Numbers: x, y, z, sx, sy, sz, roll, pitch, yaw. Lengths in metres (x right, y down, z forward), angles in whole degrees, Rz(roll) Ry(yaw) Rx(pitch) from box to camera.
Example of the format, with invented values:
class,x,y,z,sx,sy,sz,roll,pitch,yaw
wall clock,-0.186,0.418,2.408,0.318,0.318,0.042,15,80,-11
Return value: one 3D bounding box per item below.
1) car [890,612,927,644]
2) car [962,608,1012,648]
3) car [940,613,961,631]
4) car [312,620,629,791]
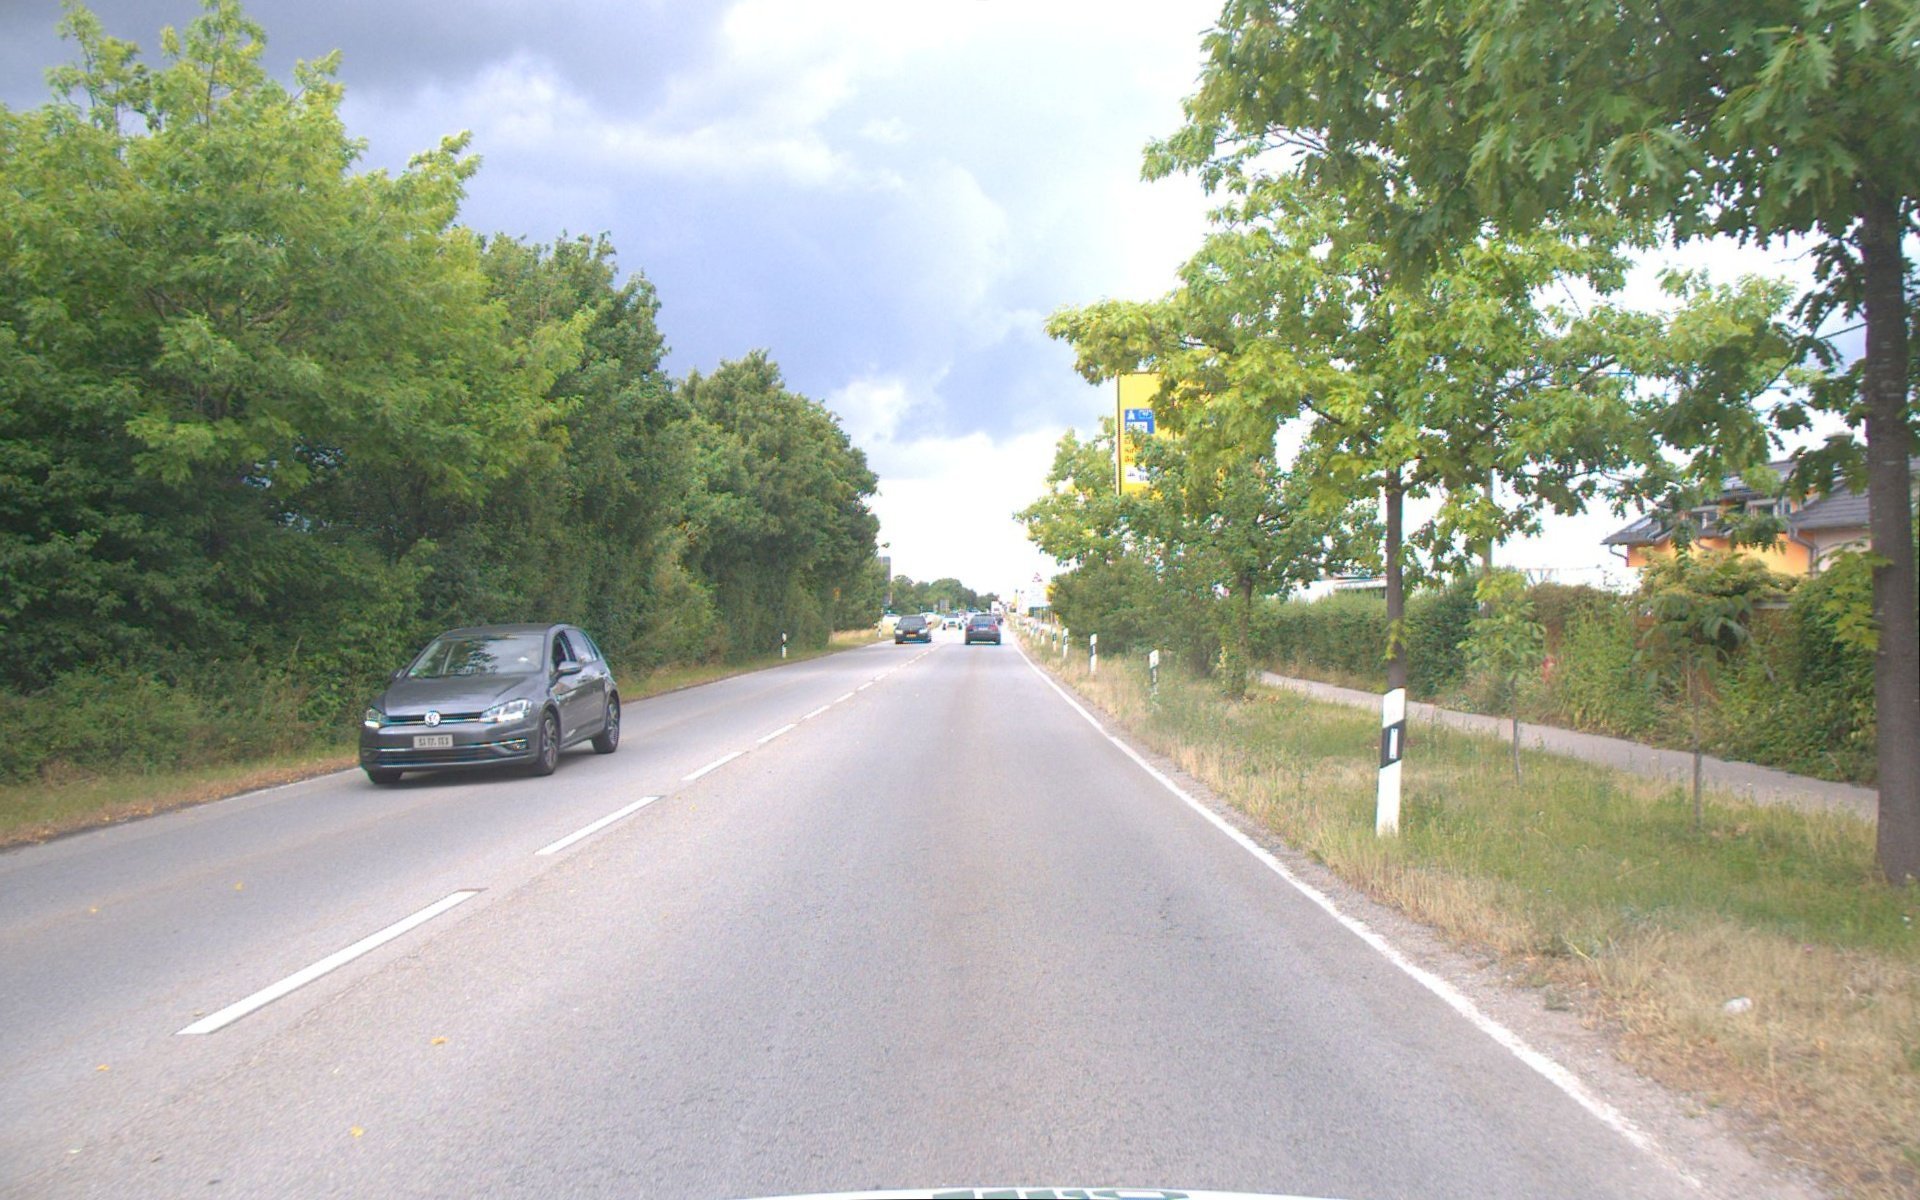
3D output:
class,x,y,z,sx,sy,sz,roll,pitch,yaw
car,-2.757,1.528,89.956,1.901,1.614,4.554,-2,-1,-1
car,1.343,1.426,84.031,2.324,1.913,4.476,-2,-1,-1
car,-0.905,2.214,167.158,1.952,1.713,4.810,-1,-1,1
car,-4.825,0.977,17.016,1.953,1.444,4.476,-2,-1,-1
